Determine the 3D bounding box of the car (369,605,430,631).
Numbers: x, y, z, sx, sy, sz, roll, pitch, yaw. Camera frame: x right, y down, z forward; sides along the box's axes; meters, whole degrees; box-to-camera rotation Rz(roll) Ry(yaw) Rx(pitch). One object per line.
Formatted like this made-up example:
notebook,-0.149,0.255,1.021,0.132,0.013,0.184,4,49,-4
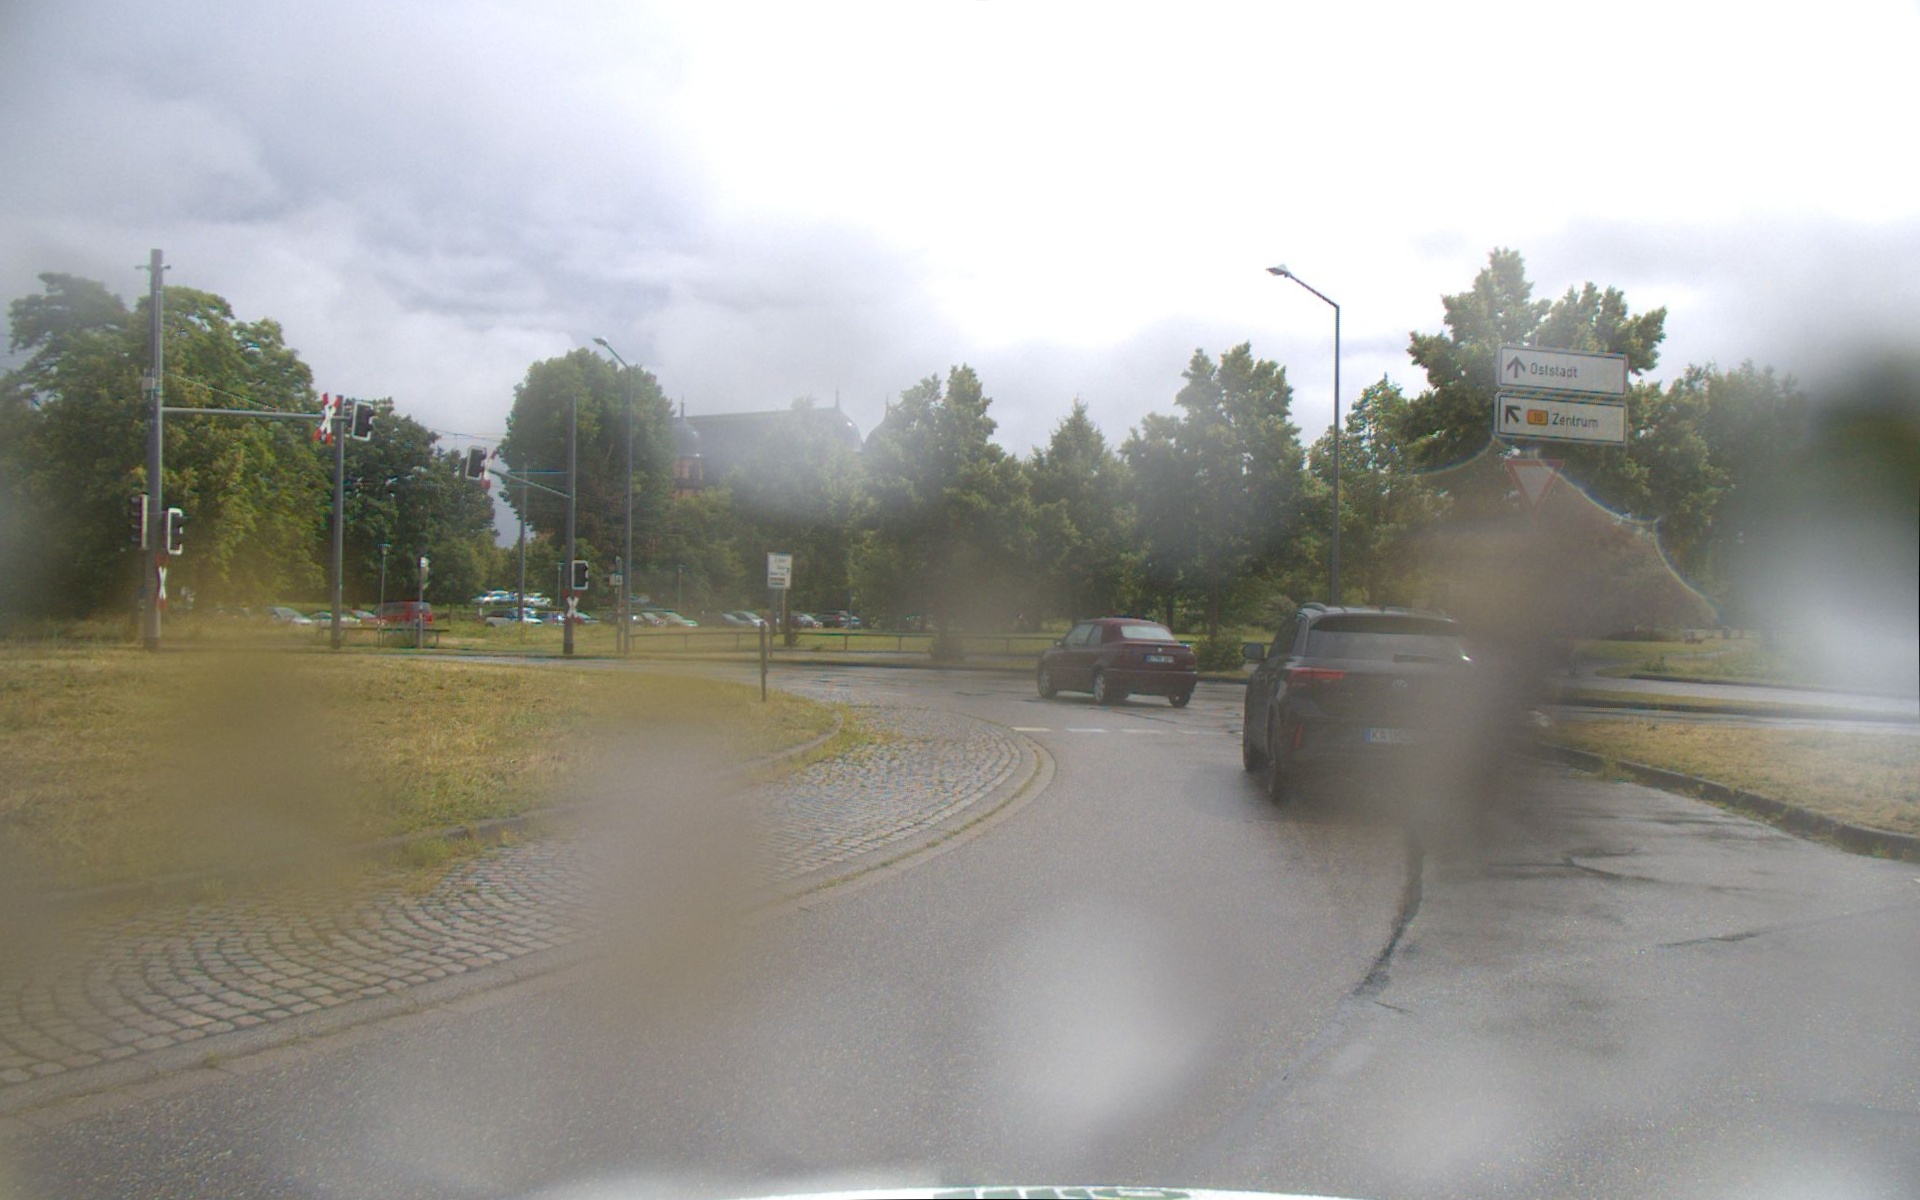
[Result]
car,-33.091,1.051,97.572,3.576,1.537,1.644,0,-1,36

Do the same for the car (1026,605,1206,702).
car,2.623,0.877,28.765,1.688,1.488,3.980,1,1,-18

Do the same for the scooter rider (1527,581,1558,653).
scooter rider,17.007,0.511,48.332,0.689,2.049,0.771,2,-2,9

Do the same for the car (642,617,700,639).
car,-20.813,2.009,119.182,3.892,1.587,1.846,0,-1,30

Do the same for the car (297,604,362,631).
car,-35.484,0.961,93.119,3.535,1.487,1.641,0,-1,33

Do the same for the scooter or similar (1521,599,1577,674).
scooter or similar,16.885,1.076,47.497,1.210,2.049,3.410,1,-2,15

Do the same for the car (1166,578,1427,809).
car,2.790,0.709,14.229,1.857,1.646,4.003,2,-1,9
